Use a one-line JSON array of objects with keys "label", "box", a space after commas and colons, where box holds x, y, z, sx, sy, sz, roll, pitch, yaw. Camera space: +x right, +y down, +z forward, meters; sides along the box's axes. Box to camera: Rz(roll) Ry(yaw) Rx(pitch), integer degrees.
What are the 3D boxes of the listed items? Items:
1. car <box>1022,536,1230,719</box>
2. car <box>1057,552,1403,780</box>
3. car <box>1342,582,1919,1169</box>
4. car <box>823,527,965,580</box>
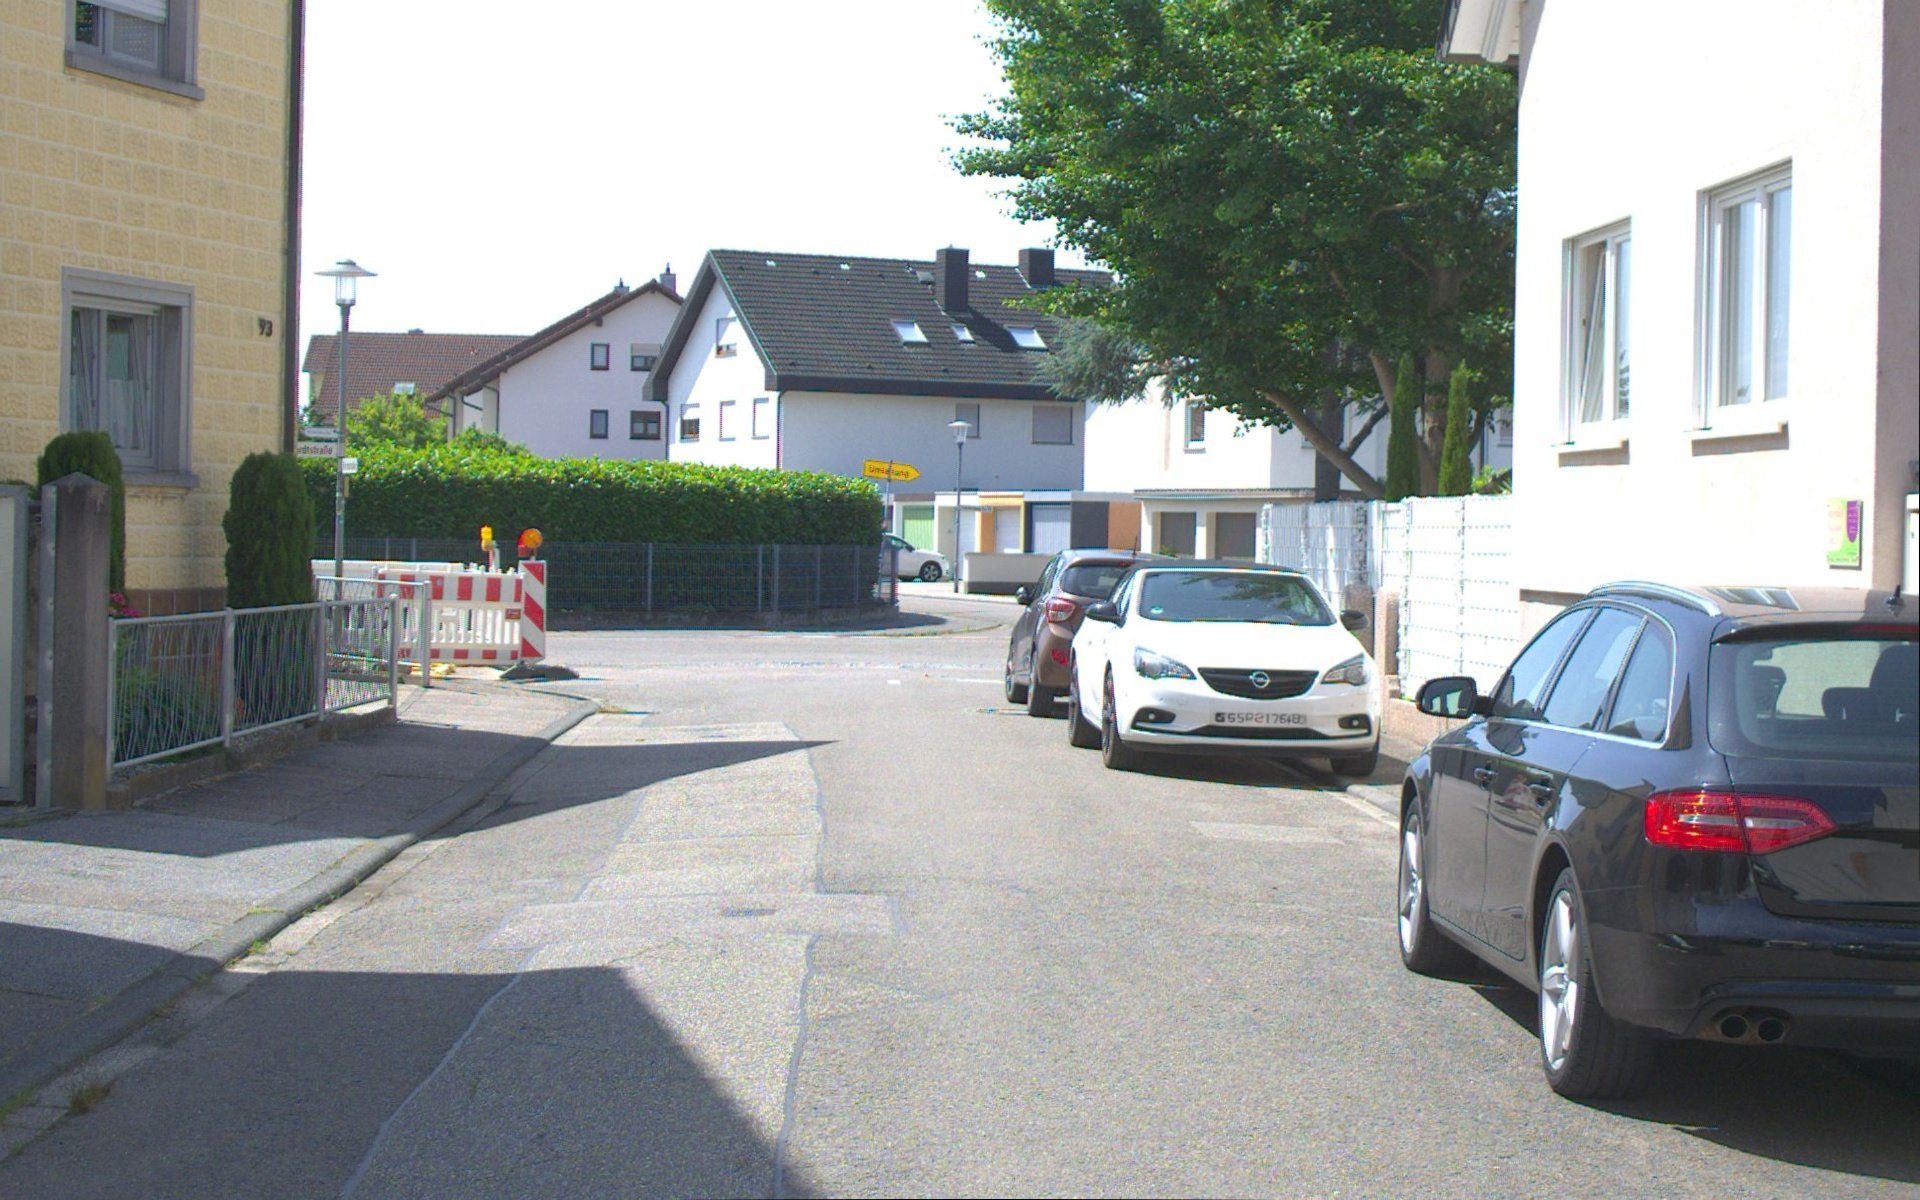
[{"label": "car", "box": [1.469, 0.202, 31.712, 1.712, 1.527, 4.035, 2, 1, 0]}, {"label": "car", "box": [1.839, 0.400, 24.890, 1.895, 1.424, 4.738, 2, 1, -2]}, {"label": "car", "box": [2.518, 0.681, 10.819, 1.895, 1.360, 4.738, 2, 1, -2]}, {"label": "car", "box": [-1.868, -1.325, 97.513, 3.598, 1.403, 1.784, 1, 1, -24]}]
